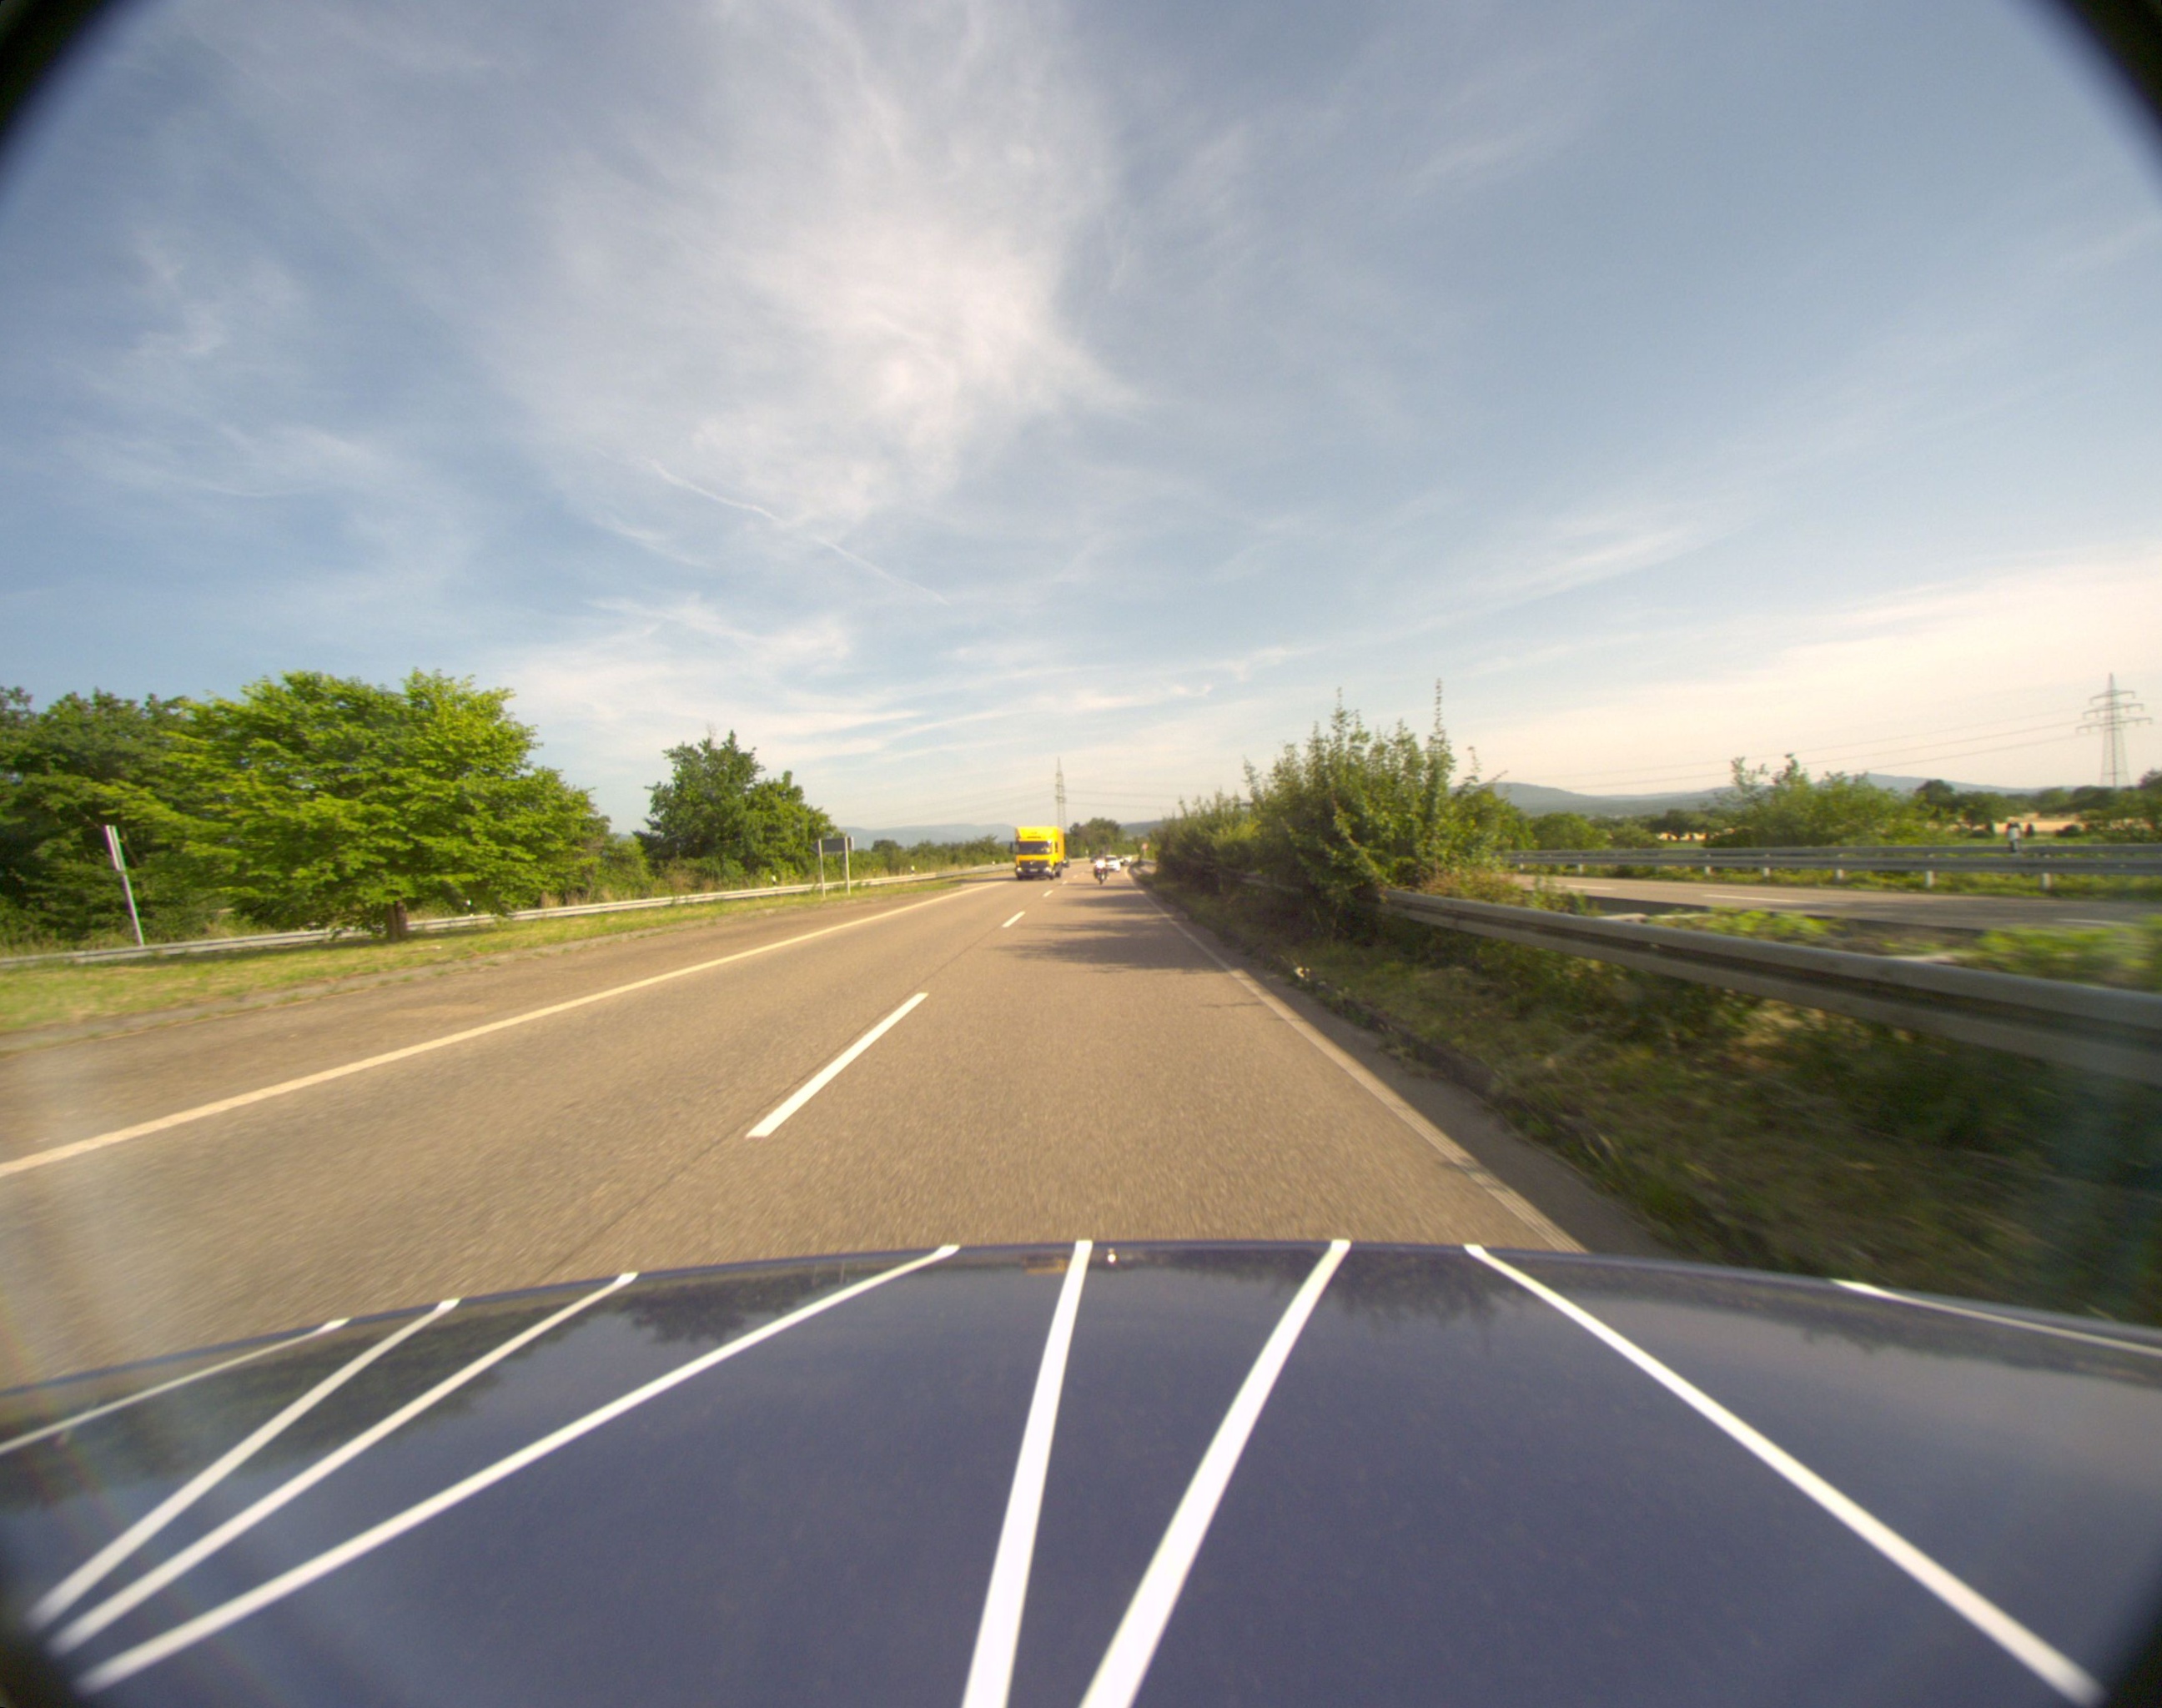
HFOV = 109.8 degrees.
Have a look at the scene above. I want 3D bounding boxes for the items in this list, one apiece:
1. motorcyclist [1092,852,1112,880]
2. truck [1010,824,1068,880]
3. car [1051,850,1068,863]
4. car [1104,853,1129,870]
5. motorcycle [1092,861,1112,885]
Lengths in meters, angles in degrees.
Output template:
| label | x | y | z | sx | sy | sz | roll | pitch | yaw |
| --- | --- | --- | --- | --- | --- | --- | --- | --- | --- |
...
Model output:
| label | x | y | z | sx | sy | sz | roll | pitch | yaw |
| --- | --- | --- | --- | --- | --- | --- | --- | --- | --- |
| motorcyclist | 1.049 | 0.585 | 38.135 | 0.937 | 1.344 | 1.143 | -1 | 1 | 4 |
| truck | -2.622 | -0.124 | 50.874 | 2.785 | 3.297 | 10.490 | -2 | 0 | 2 |
| car | -2.806 | 0.274 | 100.881 | 1.878 | 1.630 | 4.000 | -1 | 1 | 2 |
| car | 3.175 | 0.644 | 67.411 | 1.868 | 1.454 | 4.085 | -1 | 1 | 6 |
| motorcycle | 1.058 | 0.932 | 38.155 | 0.937 | 1.132 | 2.582 | -1 | 1 | 3 |
